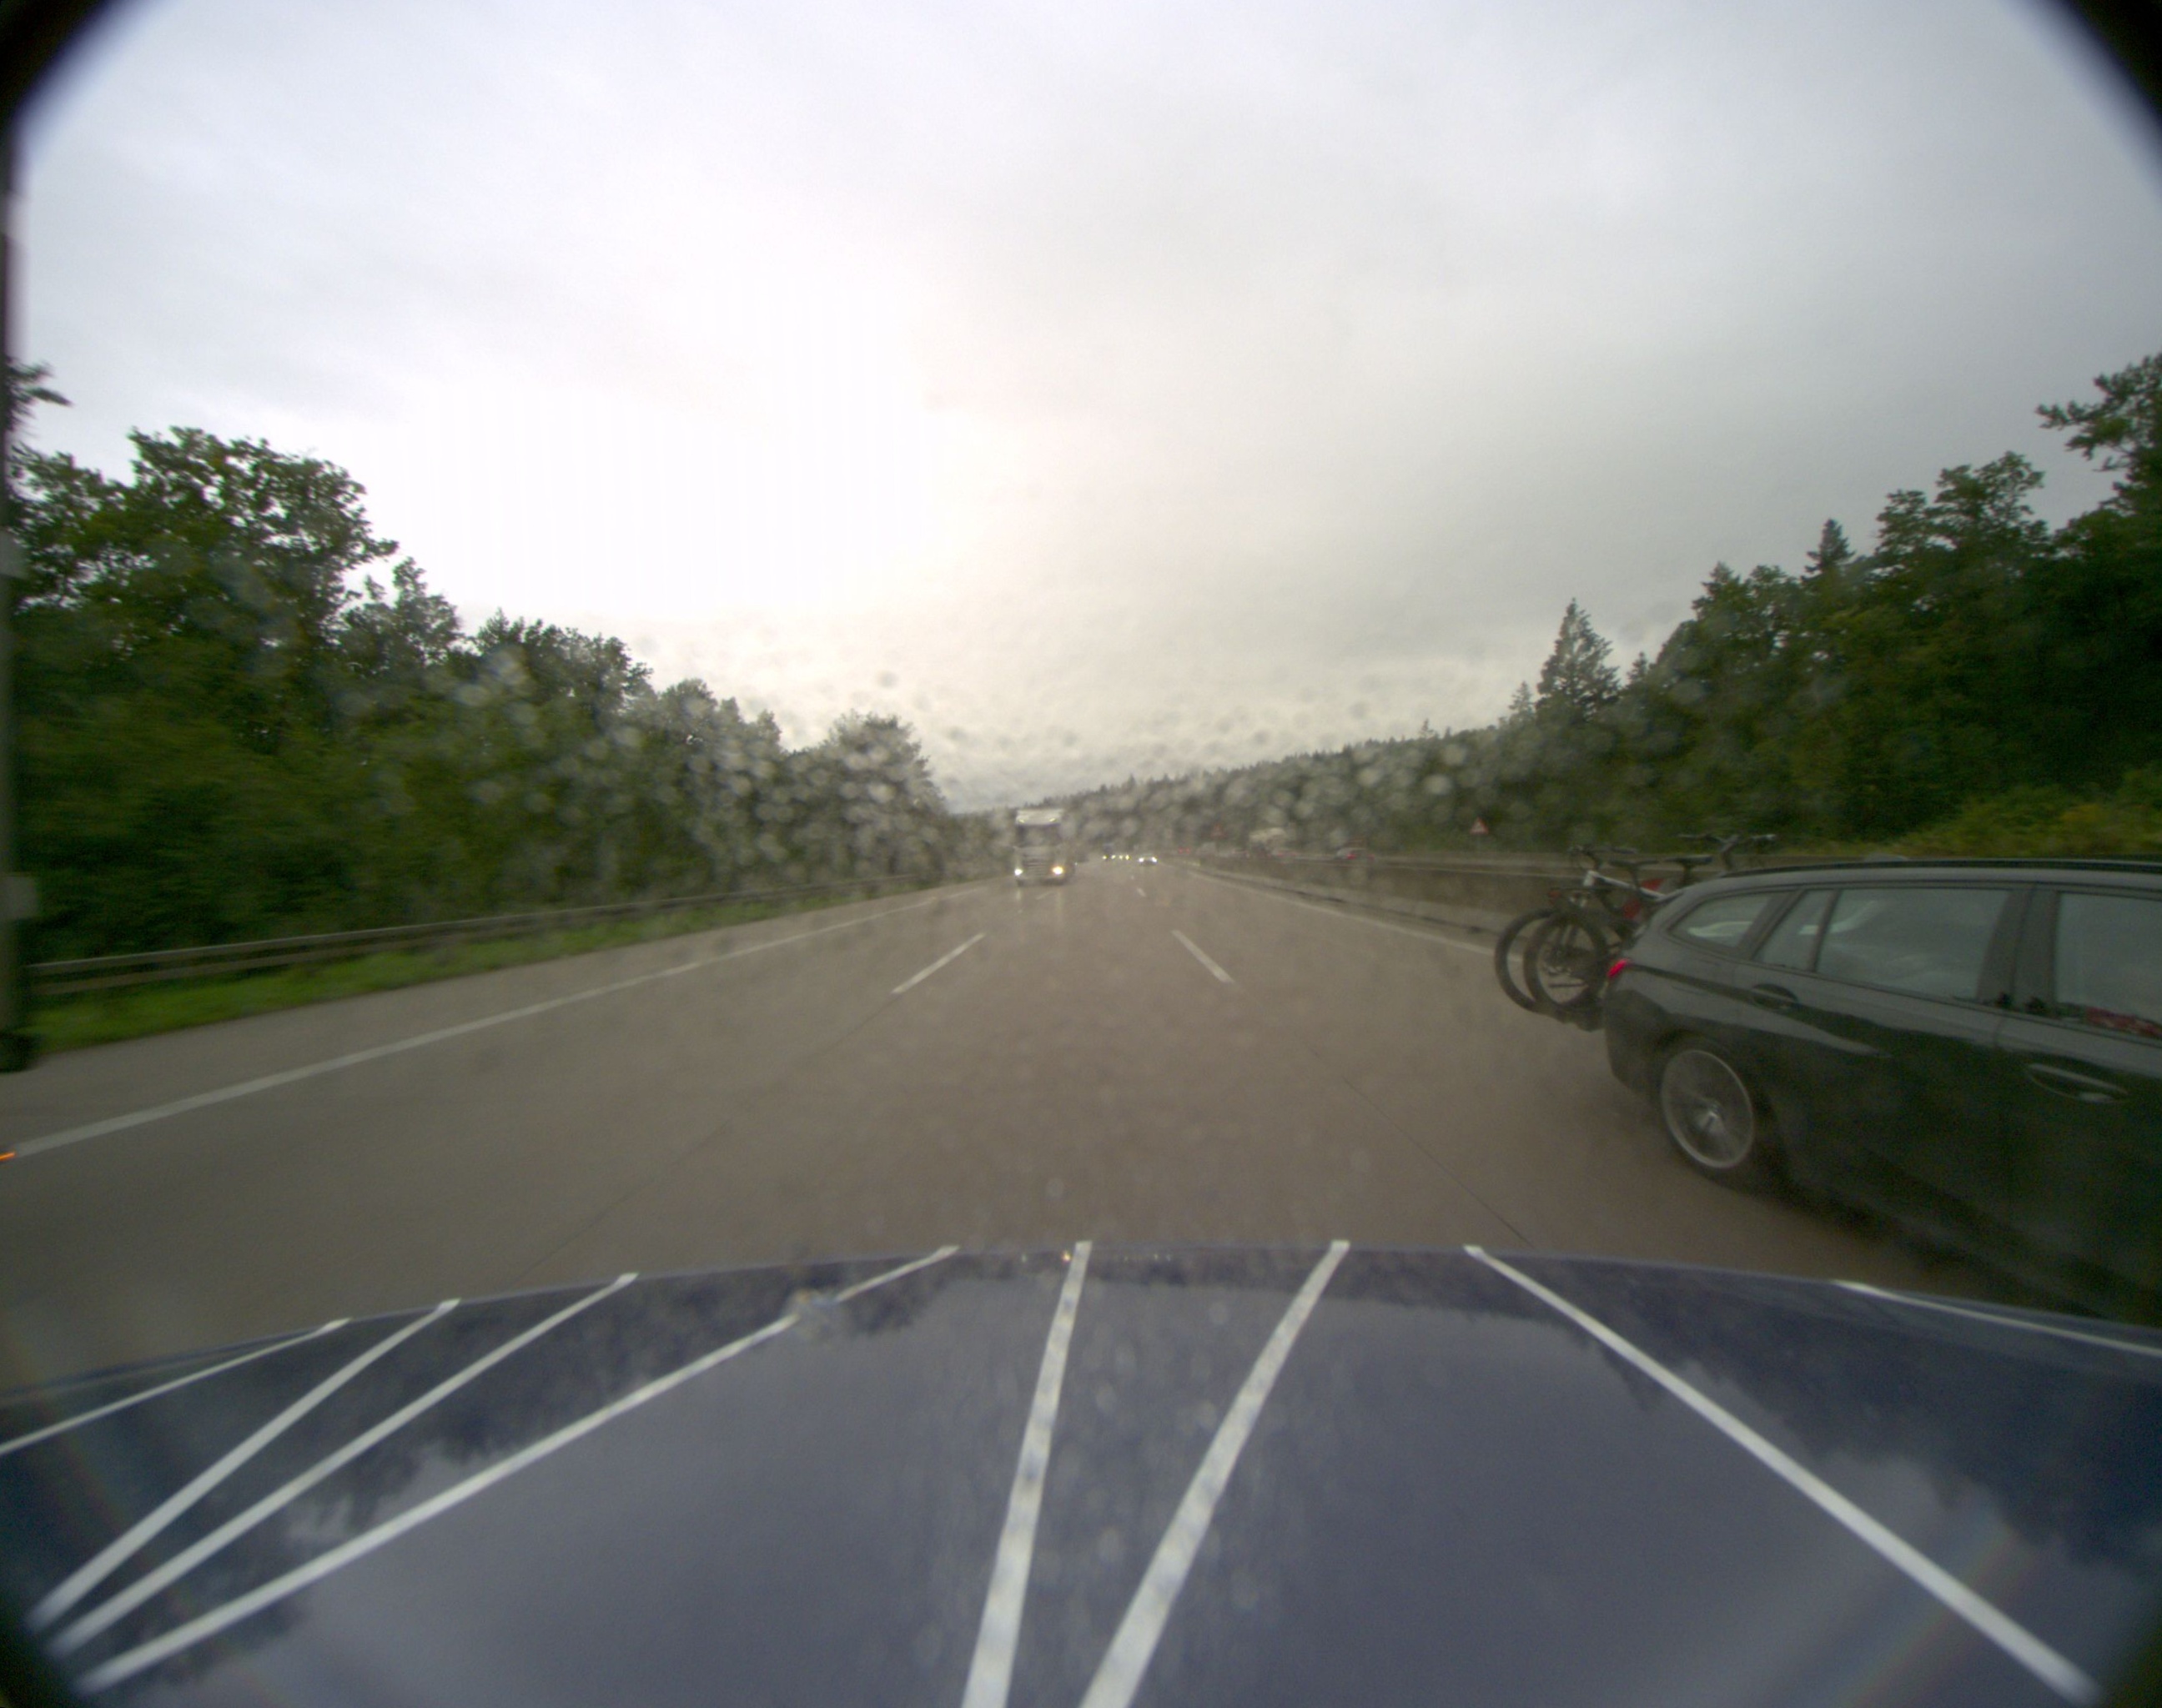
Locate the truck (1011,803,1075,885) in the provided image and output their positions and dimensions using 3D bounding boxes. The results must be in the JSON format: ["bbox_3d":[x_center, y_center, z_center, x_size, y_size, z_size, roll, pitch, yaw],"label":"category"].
[{"bbox_3d":[-1.934,-0.512,41.035,2.727,4.018,5.753,-2,1,3],"label":"truck"}]

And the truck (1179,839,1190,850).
[{"bbox_3d":[31.313,-2.856,230.556,2.437,3.156,10.664,-3,0,5],"label":"truck"}]

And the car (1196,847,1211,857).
[{"bbox_3d":[18.702,-0.323,115.998,1.663,1.364,4.758,-2,0,2],"label":"car"}]

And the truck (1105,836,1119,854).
[{"bbox_3d":[7.355,-2.078,181.610,2.737,4.127,8.621,-2,0,0],"label":"truck"}]

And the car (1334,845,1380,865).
[{"bbox_3d":[17.658,0.055,48.820,1.514,1.159,4.404,-2,0,3],"label":"car"}]

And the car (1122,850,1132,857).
[{"bbox_3d":[9.440,-0.167,155.859,1.716,1.399,4.936,-2,0,1],"label":"car"}]

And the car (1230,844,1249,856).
[{"bbox_3d":[20.315,-0.505,97.652,1.662,1.364,4.721,-2,0,3],"label":"car"}]

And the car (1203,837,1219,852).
[{"bbox_3d":[23.333,-1.704,136.494,1.998,2.435,6.747,-2,0,4],"label":"car"}]

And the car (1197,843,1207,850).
[{"bbox_3d":[30.391,-1.981,190.533,1.998,1.689,4.975,-3,0,4],"label":"car"}]

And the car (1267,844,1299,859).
[{"bbox_3d":[18.310,-0.233,68.994,1.806,1.326,4.565,-2,0,3],"label":"car"}]

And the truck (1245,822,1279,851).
[{"bbox_3d":[24.610,-2.337,103.607,2.570,3.646,10.493,-2,0,3],"label":"truck"}]

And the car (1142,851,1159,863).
[{"bbox_3d":[8.110,0.336,89.027,1.716,1.399,4.936,-2,0,1],"label":"car"}]

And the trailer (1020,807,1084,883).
[{"bbox_3d":[-1.537,-0.555,48.251,2.685,4.017,13.706,-3,0,3],"label":"trailer"}]

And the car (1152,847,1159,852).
[{"bbox_3d":[24.597,-1.560,250.109,1.998,1.382,4.752,-3,0,5],"label":"car"}]

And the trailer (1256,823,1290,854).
[{"bbox_3d":[24.028,-1.922,95.363,2.551,3.646,8.231,-2,0,3],"label":"trailer"}]

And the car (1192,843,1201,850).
[{"bbox_3d":[25.574,-1.700,168.132,1.612,1.545,4.643,-3,0,4],"label":"car"}]

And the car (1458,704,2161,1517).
[{"bbox_3d":[3.515,0.583,2.189,1.912,1.933,6.162,-2,0,2],"label":"car"}]
